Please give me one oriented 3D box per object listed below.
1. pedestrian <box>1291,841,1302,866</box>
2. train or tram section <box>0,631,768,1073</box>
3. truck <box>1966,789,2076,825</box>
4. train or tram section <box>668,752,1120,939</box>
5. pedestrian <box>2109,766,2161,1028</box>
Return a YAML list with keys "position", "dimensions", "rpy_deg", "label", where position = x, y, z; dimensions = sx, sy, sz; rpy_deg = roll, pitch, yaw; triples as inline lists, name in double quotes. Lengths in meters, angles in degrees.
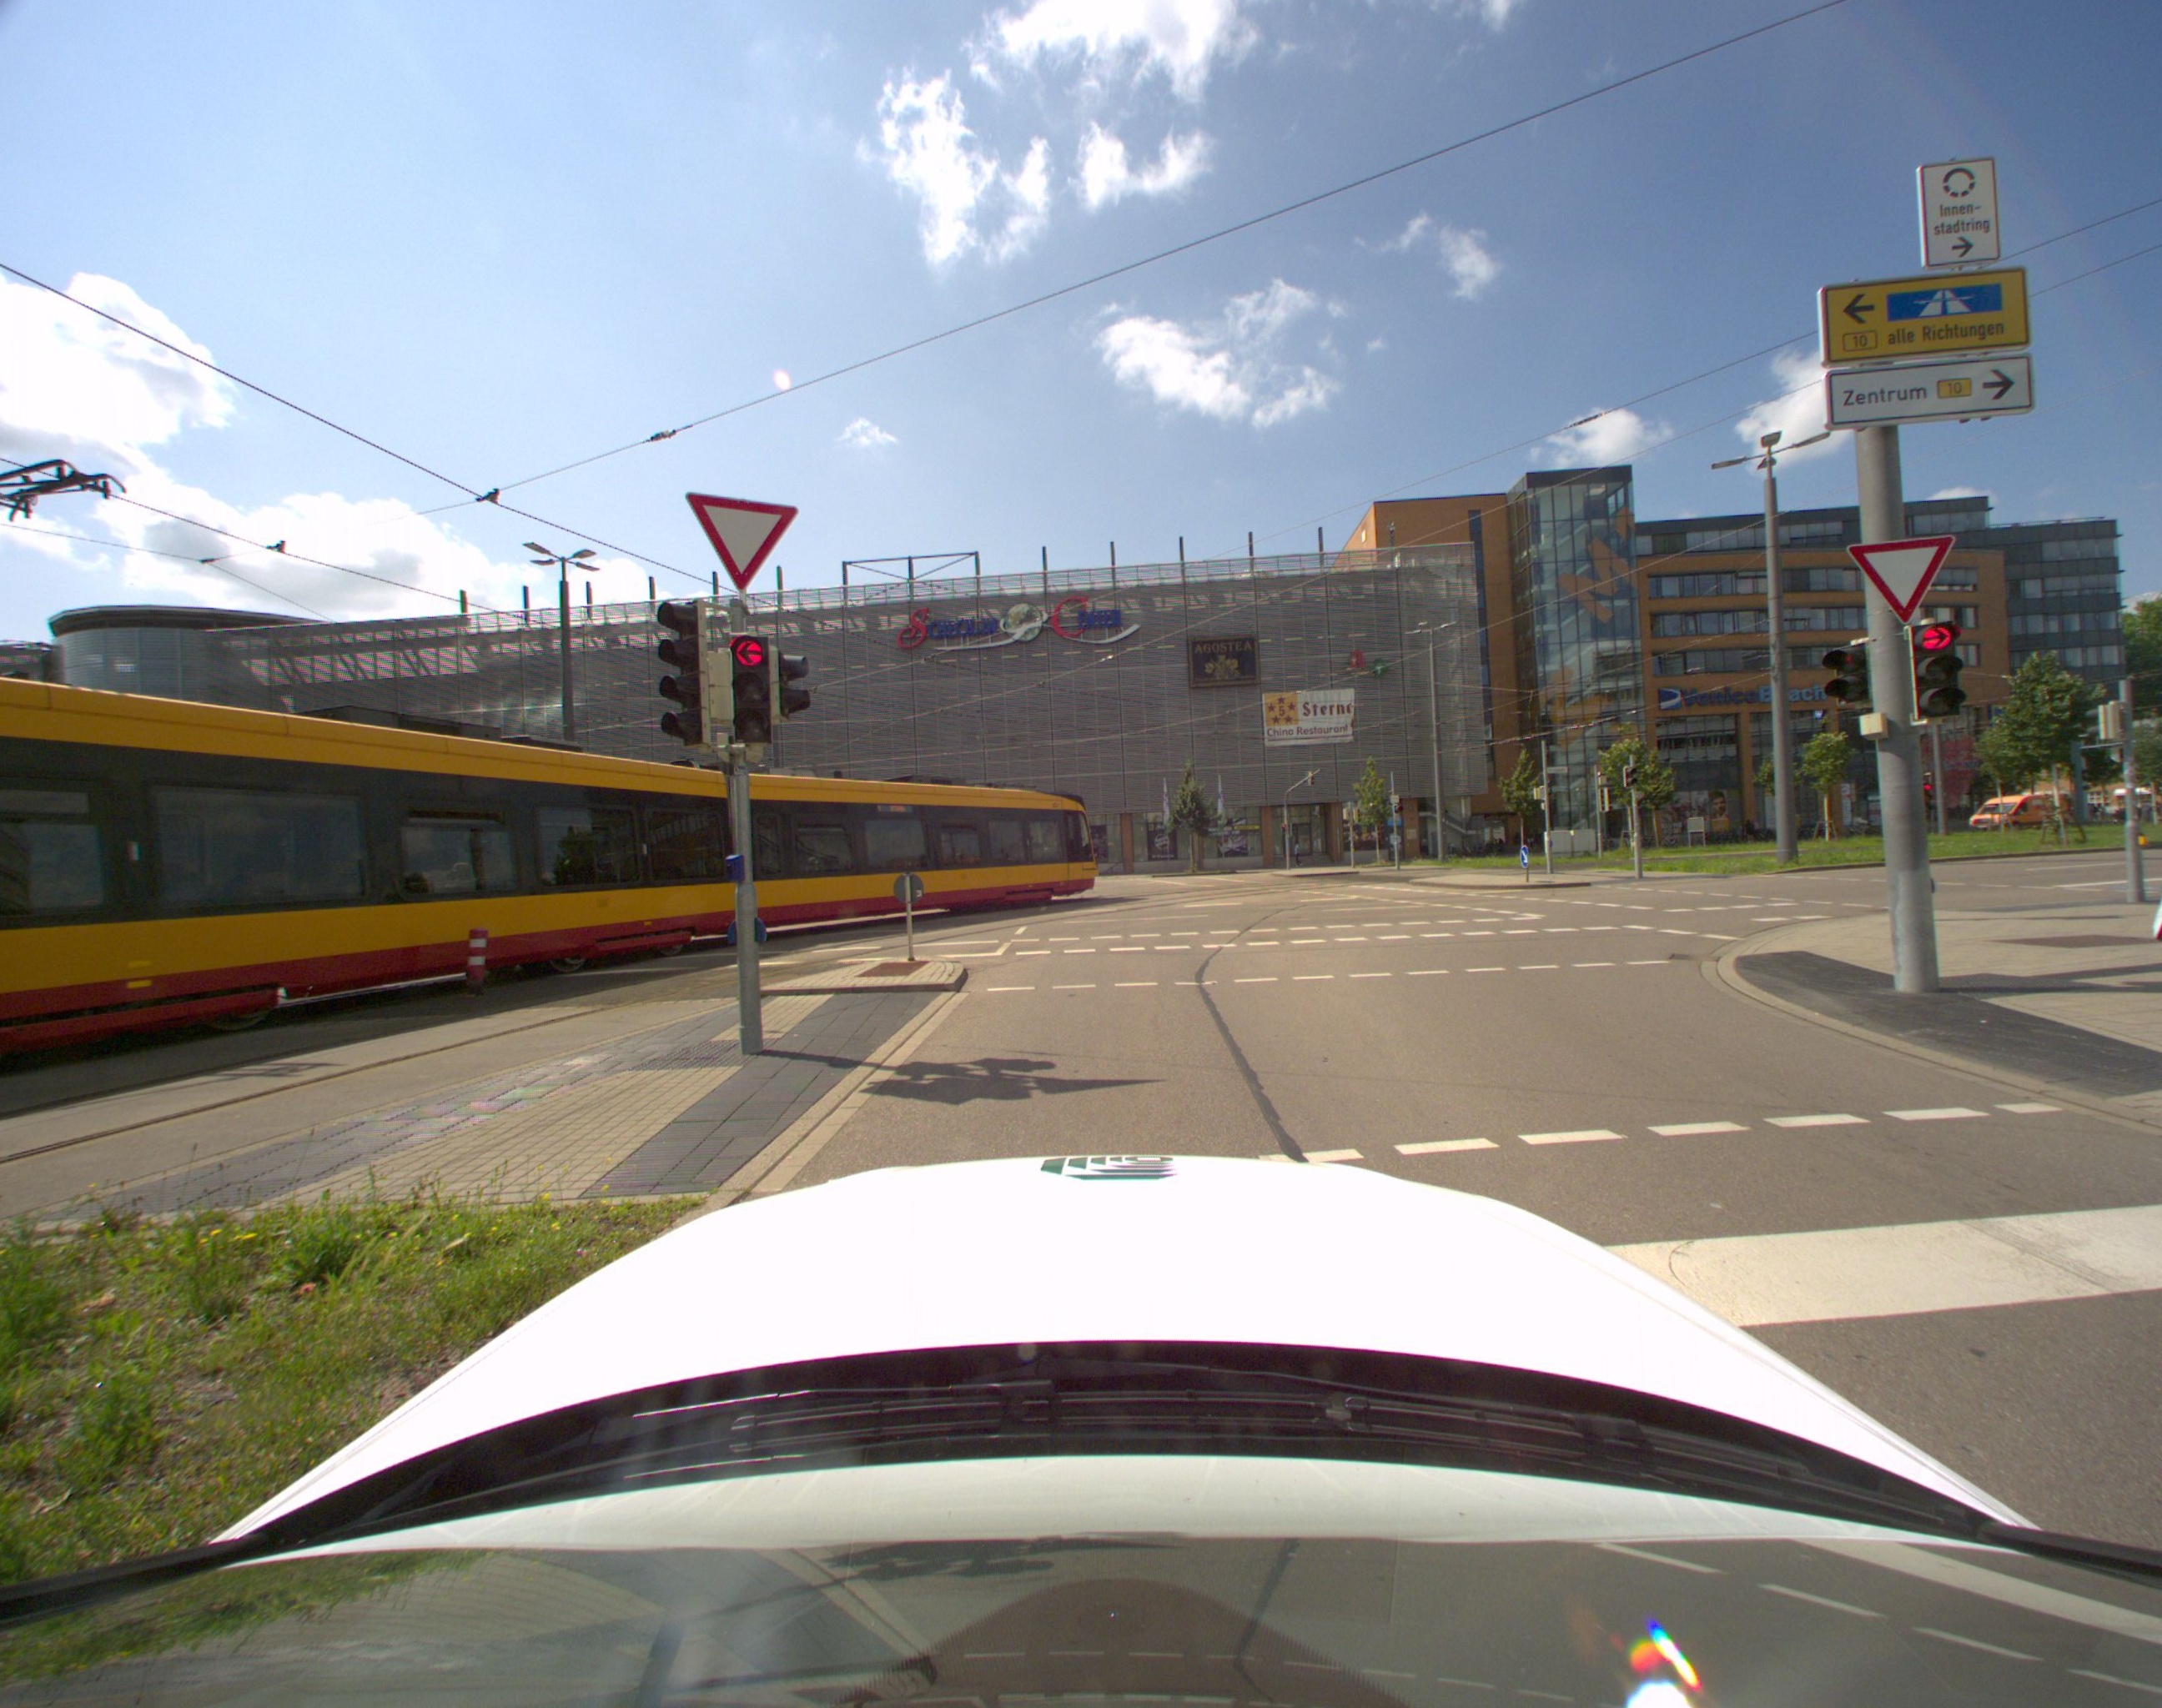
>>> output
- position: [15.553, -0.058, 58.654]
  dimensions: [0.615, 1.746, 0.630]
  rpy_deg: [-2, 0, 3]
  label: "pedestrian"
- position: [-9.152, 0.000, 10.916]
  dimensions: [3.032, 3.603, 11.040]
  rpy_deg: [-4, 0, 16]
  label: "train or tram section"
- position: [59.773, -2.962, 51.815]
  dimensions: [5.503, 2.085, 1.994]
  rpy_deg: [-2, 0, -9]
  label: "truck"
- position: [-3.821, -0.305, 21.759]
  dimensions: [3.025, 3.621, 12.718]
  rpy_deg: [-4, 0, 36]
  label: "train or tram section"
- position: [7.505, 0.253, 5.214]
  dimensions: [0.810, 1.702, 0.911]
  rpy_deg: [-3, -1, -25]
  label: "pedestrian"
